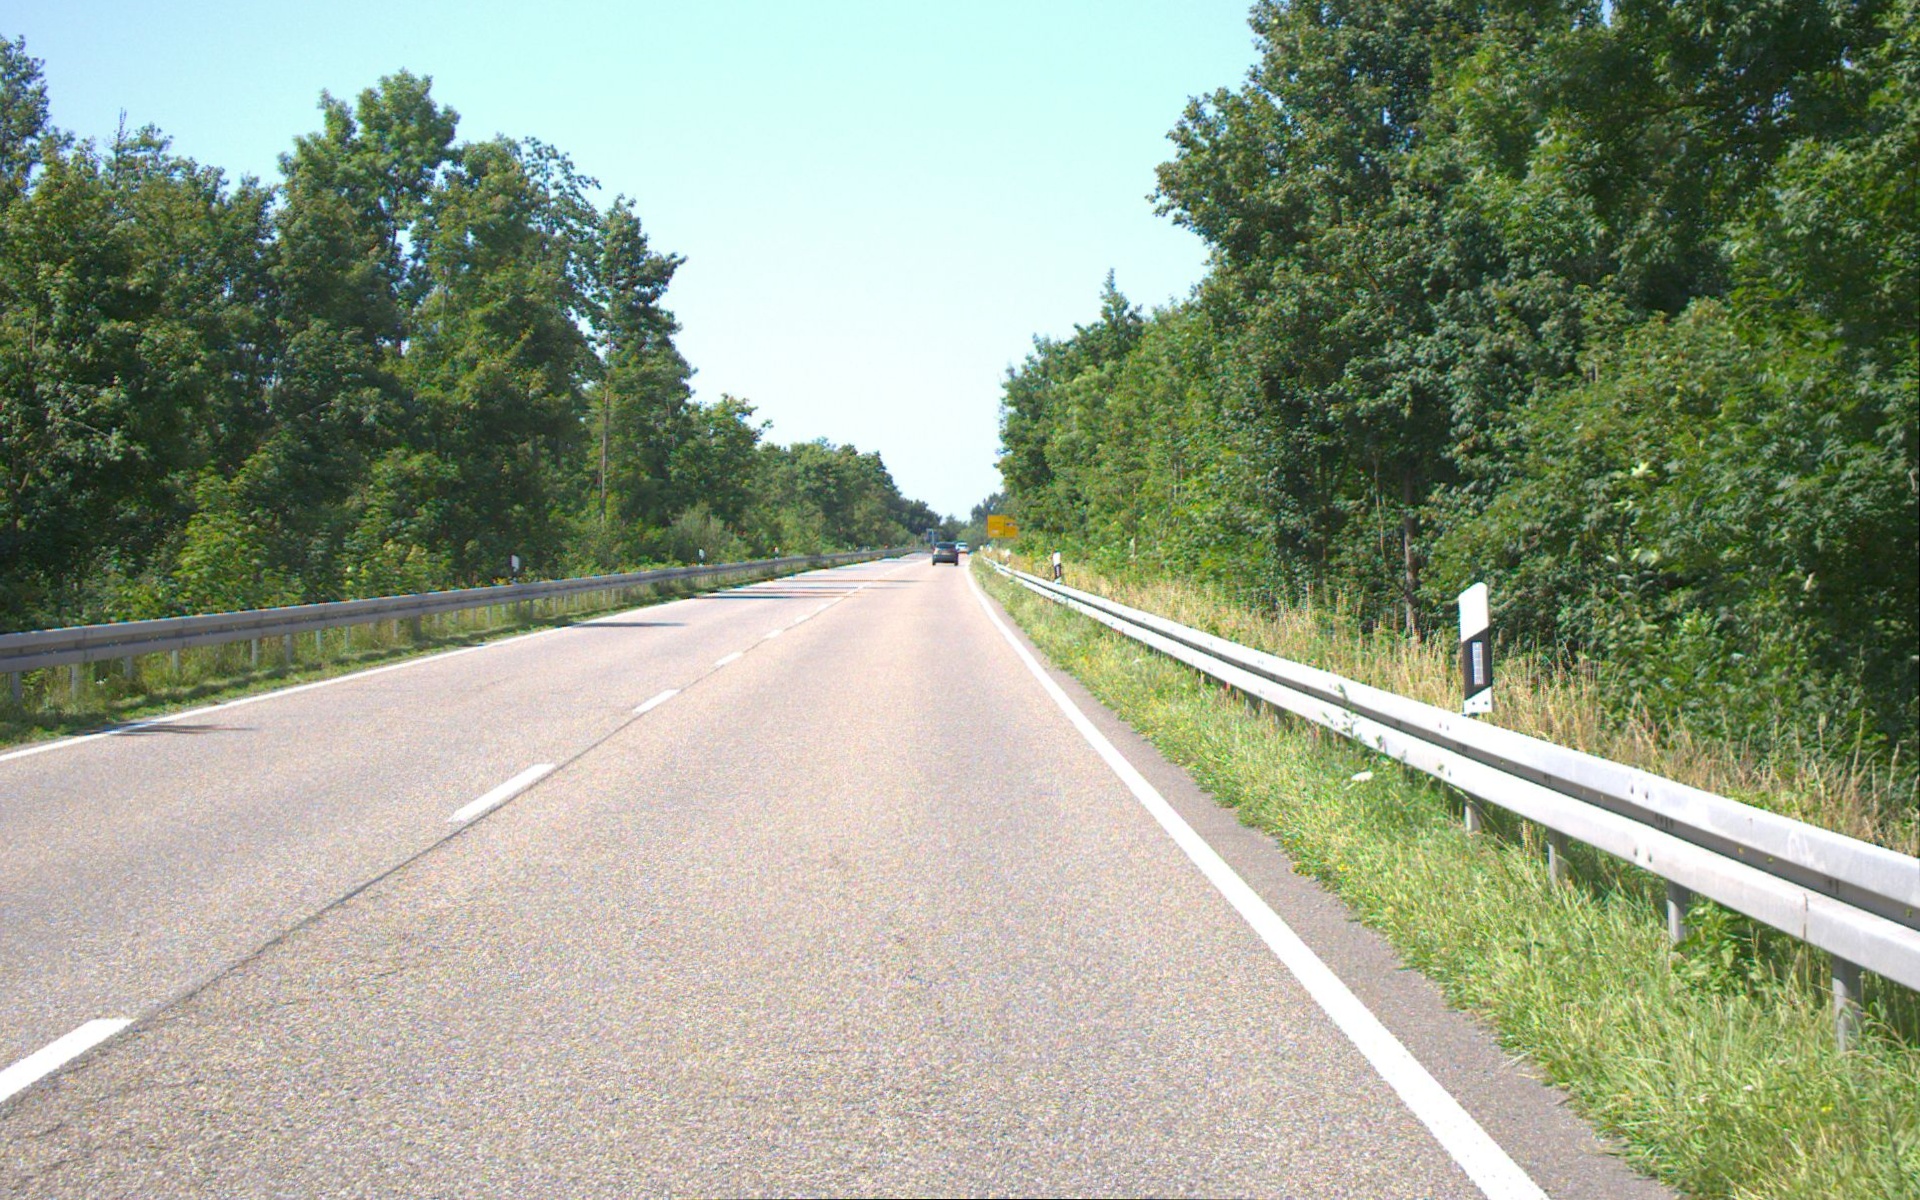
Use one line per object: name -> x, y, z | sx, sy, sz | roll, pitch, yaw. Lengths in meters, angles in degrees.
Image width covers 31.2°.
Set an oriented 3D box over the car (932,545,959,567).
car -> -0.967, -2.996, 233.624 | 1.741, 1.465, 3.692 | 0, 1, 2
